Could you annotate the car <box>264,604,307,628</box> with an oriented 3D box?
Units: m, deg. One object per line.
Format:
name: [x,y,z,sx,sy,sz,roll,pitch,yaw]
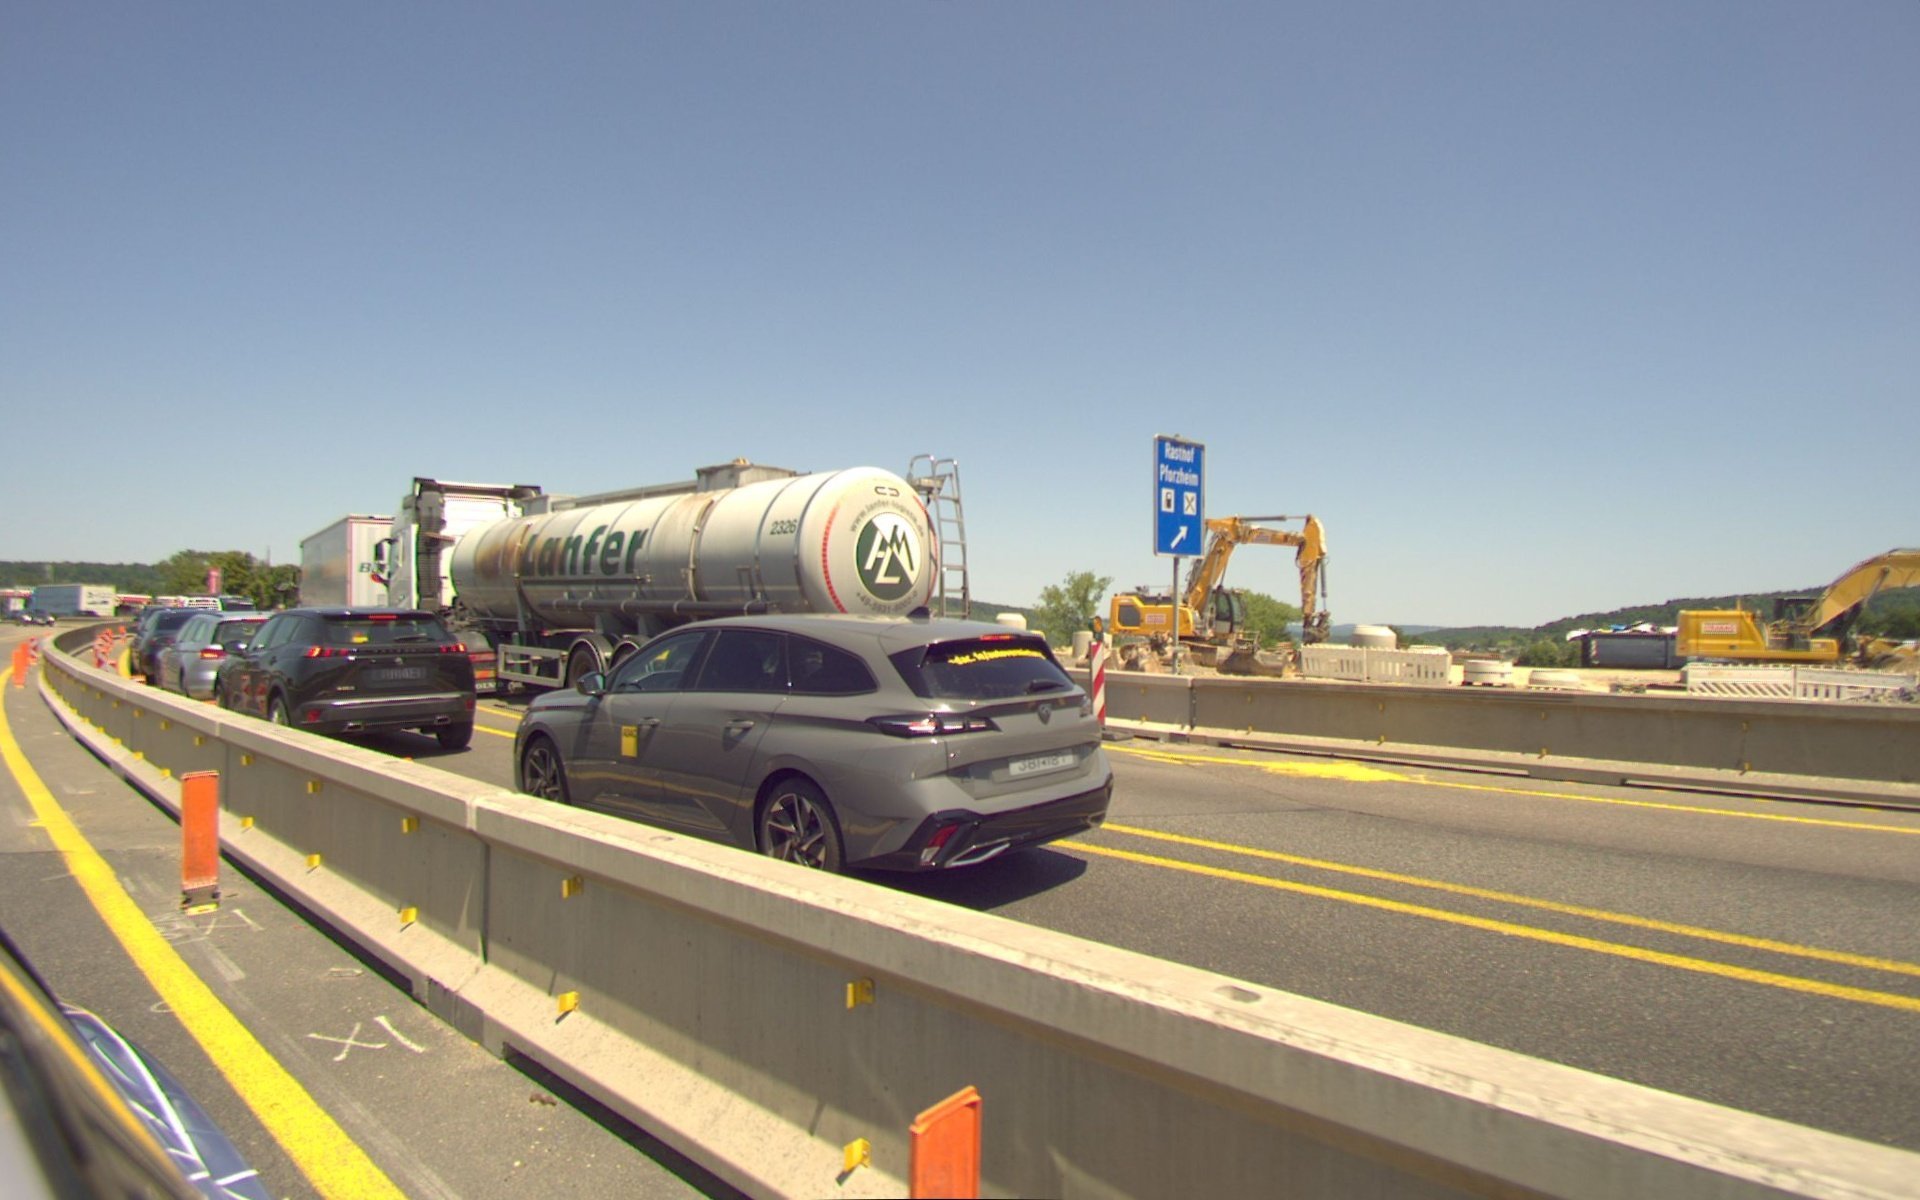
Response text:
car: [-43.227,1.015,64.859,1.967,1.513,4.664,1,-1,-37]

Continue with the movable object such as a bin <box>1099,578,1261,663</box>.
movable object such as a bin: [8.515,0.904,39.277,4.992,3.049,3.624,-3,-5,43]

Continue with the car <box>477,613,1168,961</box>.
car: [-1.215,0.797,6.444,4.797,1.427,1.716,-1,-1,43]

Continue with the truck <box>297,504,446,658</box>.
truck: [-19.848,-0.414,33.675,2.737,4.310,11.804,1,-2,-38]

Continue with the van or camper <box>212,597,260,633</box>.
van or camper: [-54.565,1.115,76.211,2.073,2.560,6.311,3,-3,-43]

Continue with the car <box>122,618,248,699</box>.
car: [-15.754,1.096,20.487,1.636,1.464,4.253,1,-1,-43]

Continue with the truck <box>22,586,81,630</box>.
truck: [-90.736,0.863,101.053,6.124,4.160,2.889,-1,-3,35]

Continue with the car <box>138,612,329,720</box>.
car: [-11.456,0.918,15.829,4.555,1.455,1.659,-1,-1,44]

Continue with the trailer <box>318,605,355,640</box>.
trailer: [-81.768,3.070,132.918,3.106,4.143,14.207,3,-4,-28]

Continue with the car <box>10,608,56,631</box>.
car: [-73.103,1.540,79.780,3.990,1.674,1.798,-1,0,35]

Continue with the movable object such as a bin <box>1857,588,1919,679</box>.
movable object such as a bin: [34.861,1.166,36.148,3.734,3.149,1.984,-2,1,24]

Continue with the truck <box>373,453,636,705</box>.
truck: [-8.828,-0.276,19.253,2.667,4.000,6.205,2,-2,-43]

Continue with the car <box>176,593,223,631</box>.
car: [-43.157,0.648,57.447,1.849,1.886,5.070,10,-6,-36]

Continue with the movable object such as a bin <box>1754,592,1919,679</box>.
movable object such as a bin: [34.612,1.368,39.309,5.448,3.149,2.410,-2,1,25]

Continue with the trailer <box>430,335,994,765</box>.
trailer: [-4.421,-0.371,14.455,2.672,4.008,11.255,2,-2,-43]

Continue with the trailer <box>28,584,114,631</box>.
trailer: [-85.648,0.811,97.357,13.884,4.160,2.889,-1,-4,35]

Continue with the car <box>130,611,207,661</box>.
car: [-24.571,1.068,31.375,1.704,1.419,4.135,0,-1,-41]

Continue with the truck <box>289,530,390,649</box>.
truck: [-24.426,-0.298,39.712,2.735,4.292,6.212,1,-2,-37]

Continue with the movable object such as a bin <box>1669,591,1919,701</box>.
movable object such as a bin: [25.954,1.473,31.563,6.007,3.073,3.805,-3,-5,39]

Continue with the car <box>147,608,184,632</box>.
car: [-56.439,1.396,71.881,1.736,1.628,4.233,0,-1,-42]

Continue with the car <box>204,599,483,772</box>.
car: [-6.918,0.795,11.161,4.119,1.556,1.659,-1,-1,44]
